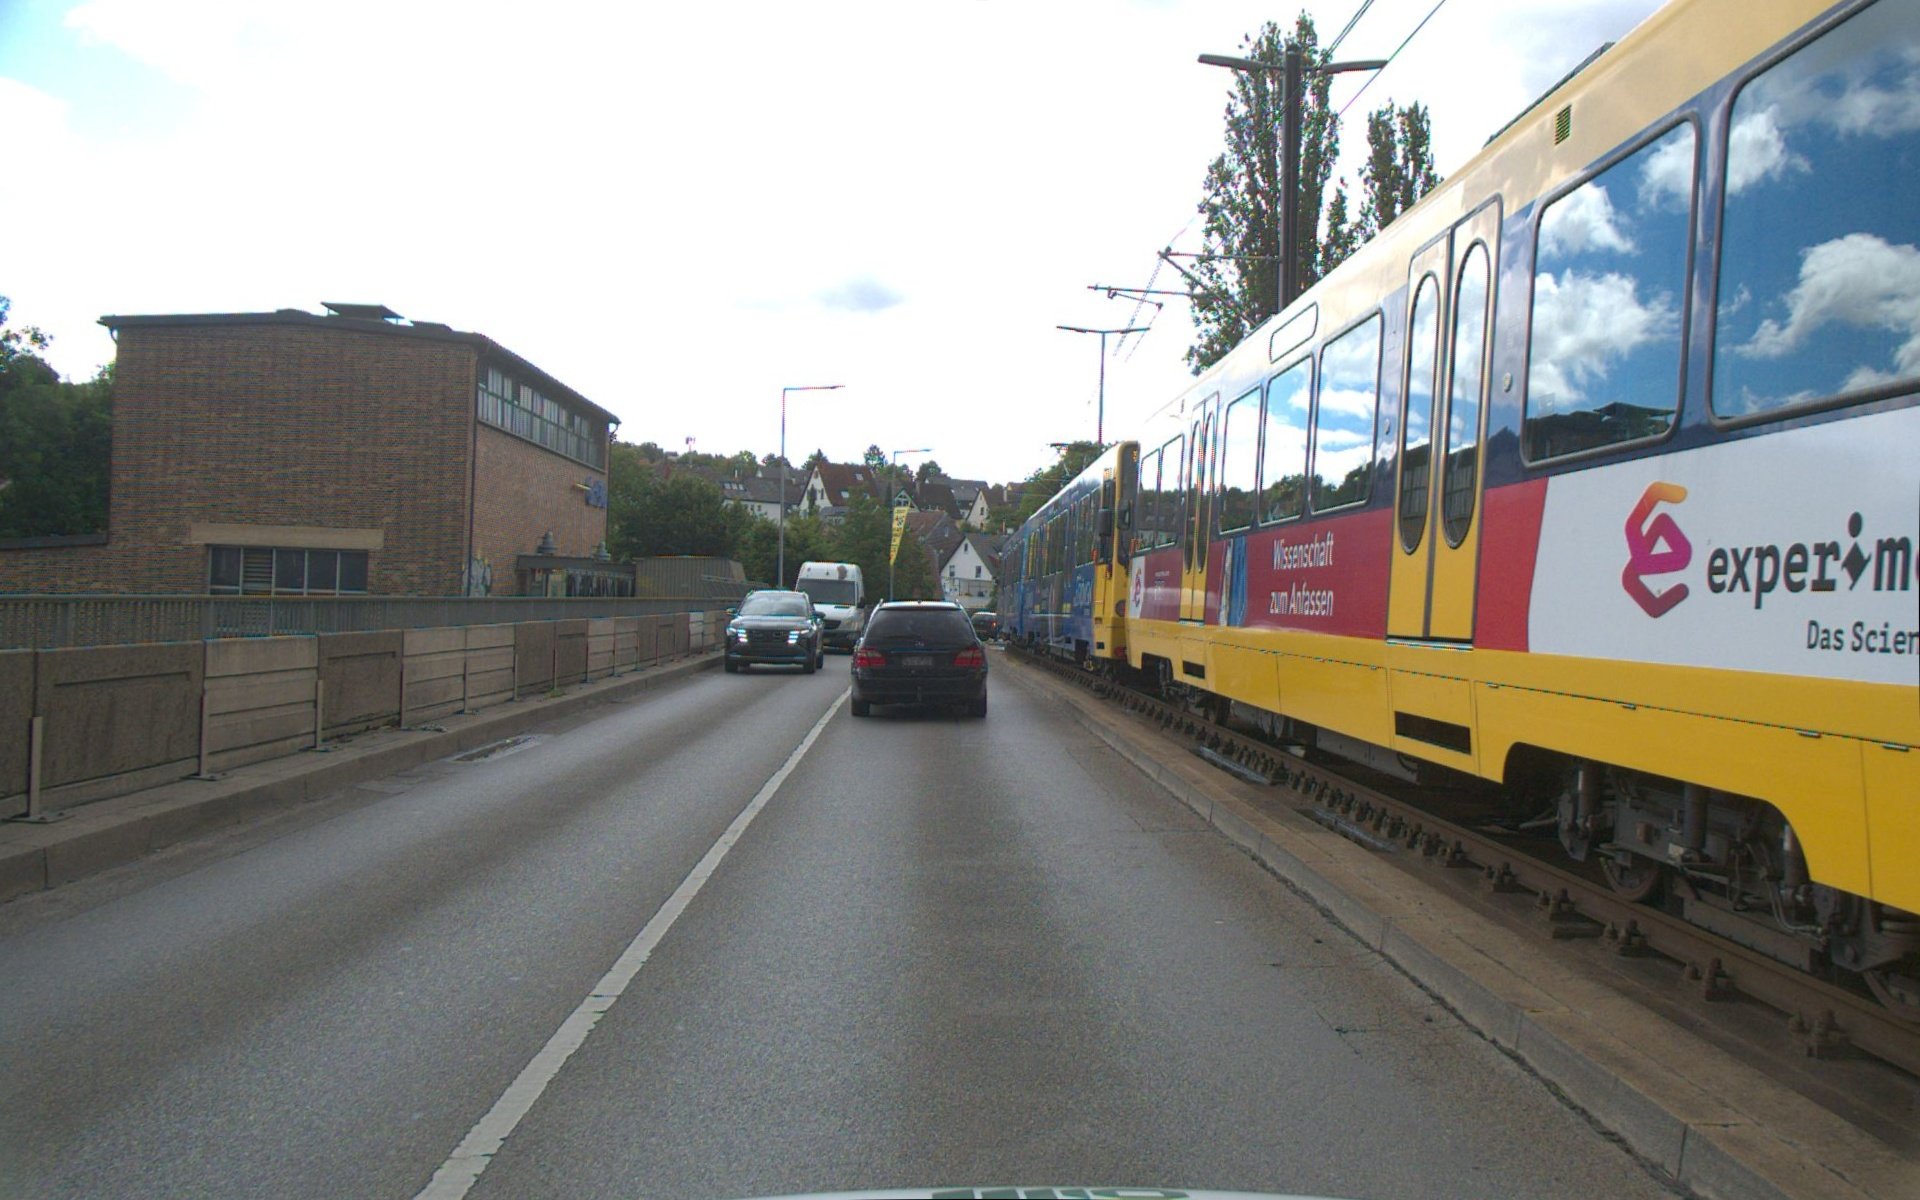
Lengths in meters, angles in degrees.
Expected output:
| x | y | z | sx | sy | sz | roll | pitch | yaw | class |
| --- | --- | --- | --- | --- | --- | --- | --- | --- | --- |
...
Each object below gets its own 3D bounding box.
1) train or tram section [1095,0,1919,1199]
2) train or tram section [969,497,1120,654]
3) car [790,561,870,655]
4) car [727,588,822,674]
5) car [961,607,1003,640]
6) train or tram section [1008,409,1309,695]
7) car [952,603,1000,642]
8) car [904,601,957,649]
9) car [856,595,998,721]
| x | y | z | sx | sy | sz | roll | pitch | yaw | class |
| --- | --- | --- | --- | --- | --- | --- | --- | --- | --- |
| 3.432 | -0.448 | 12.264 | 2.772 | 3.643 | 18.660 | 0 | 0 | -2 | train or tram section |
| 2.177 | -0.598 | 51.433 | 2.737 | 3.830 | 19.882 | 2 | 0 | -2 | train or tram section |
| -3.833 | 0.188 | 49.763 | 1.992 | 2.606 | 7.006 | 1 | 1 | -2 | car |
| -3.852 | 0.603 | 34.906 | 1.681 | 1.674 | 3.999 | 0 | 1 | -2 | car |
| 1.163 | 1.221 | 86.812 | 1.733 | 1.582 | 4.243 | 2 | 0 | 7 | car |
| 2.889 | -0.610 | 31.536 | 2.728 | 3.720 | 19.885 | -1 | 0 | -2 | train or tram section |
| 0.748 | 0.961 | 72.355 | 1.755 | 1.582 | 4.388 | 1 | 0 | 5 | car |
| -1.072 | 0.852 | 58.747 | 1.735 | 1.582 | 4.238 | 0 | 0 | -3 | car |
| -0.485 | 0.716 | 22.472 | 1.723 | 1.542 | 4.440 | 0 | 0 | -2 | car |
